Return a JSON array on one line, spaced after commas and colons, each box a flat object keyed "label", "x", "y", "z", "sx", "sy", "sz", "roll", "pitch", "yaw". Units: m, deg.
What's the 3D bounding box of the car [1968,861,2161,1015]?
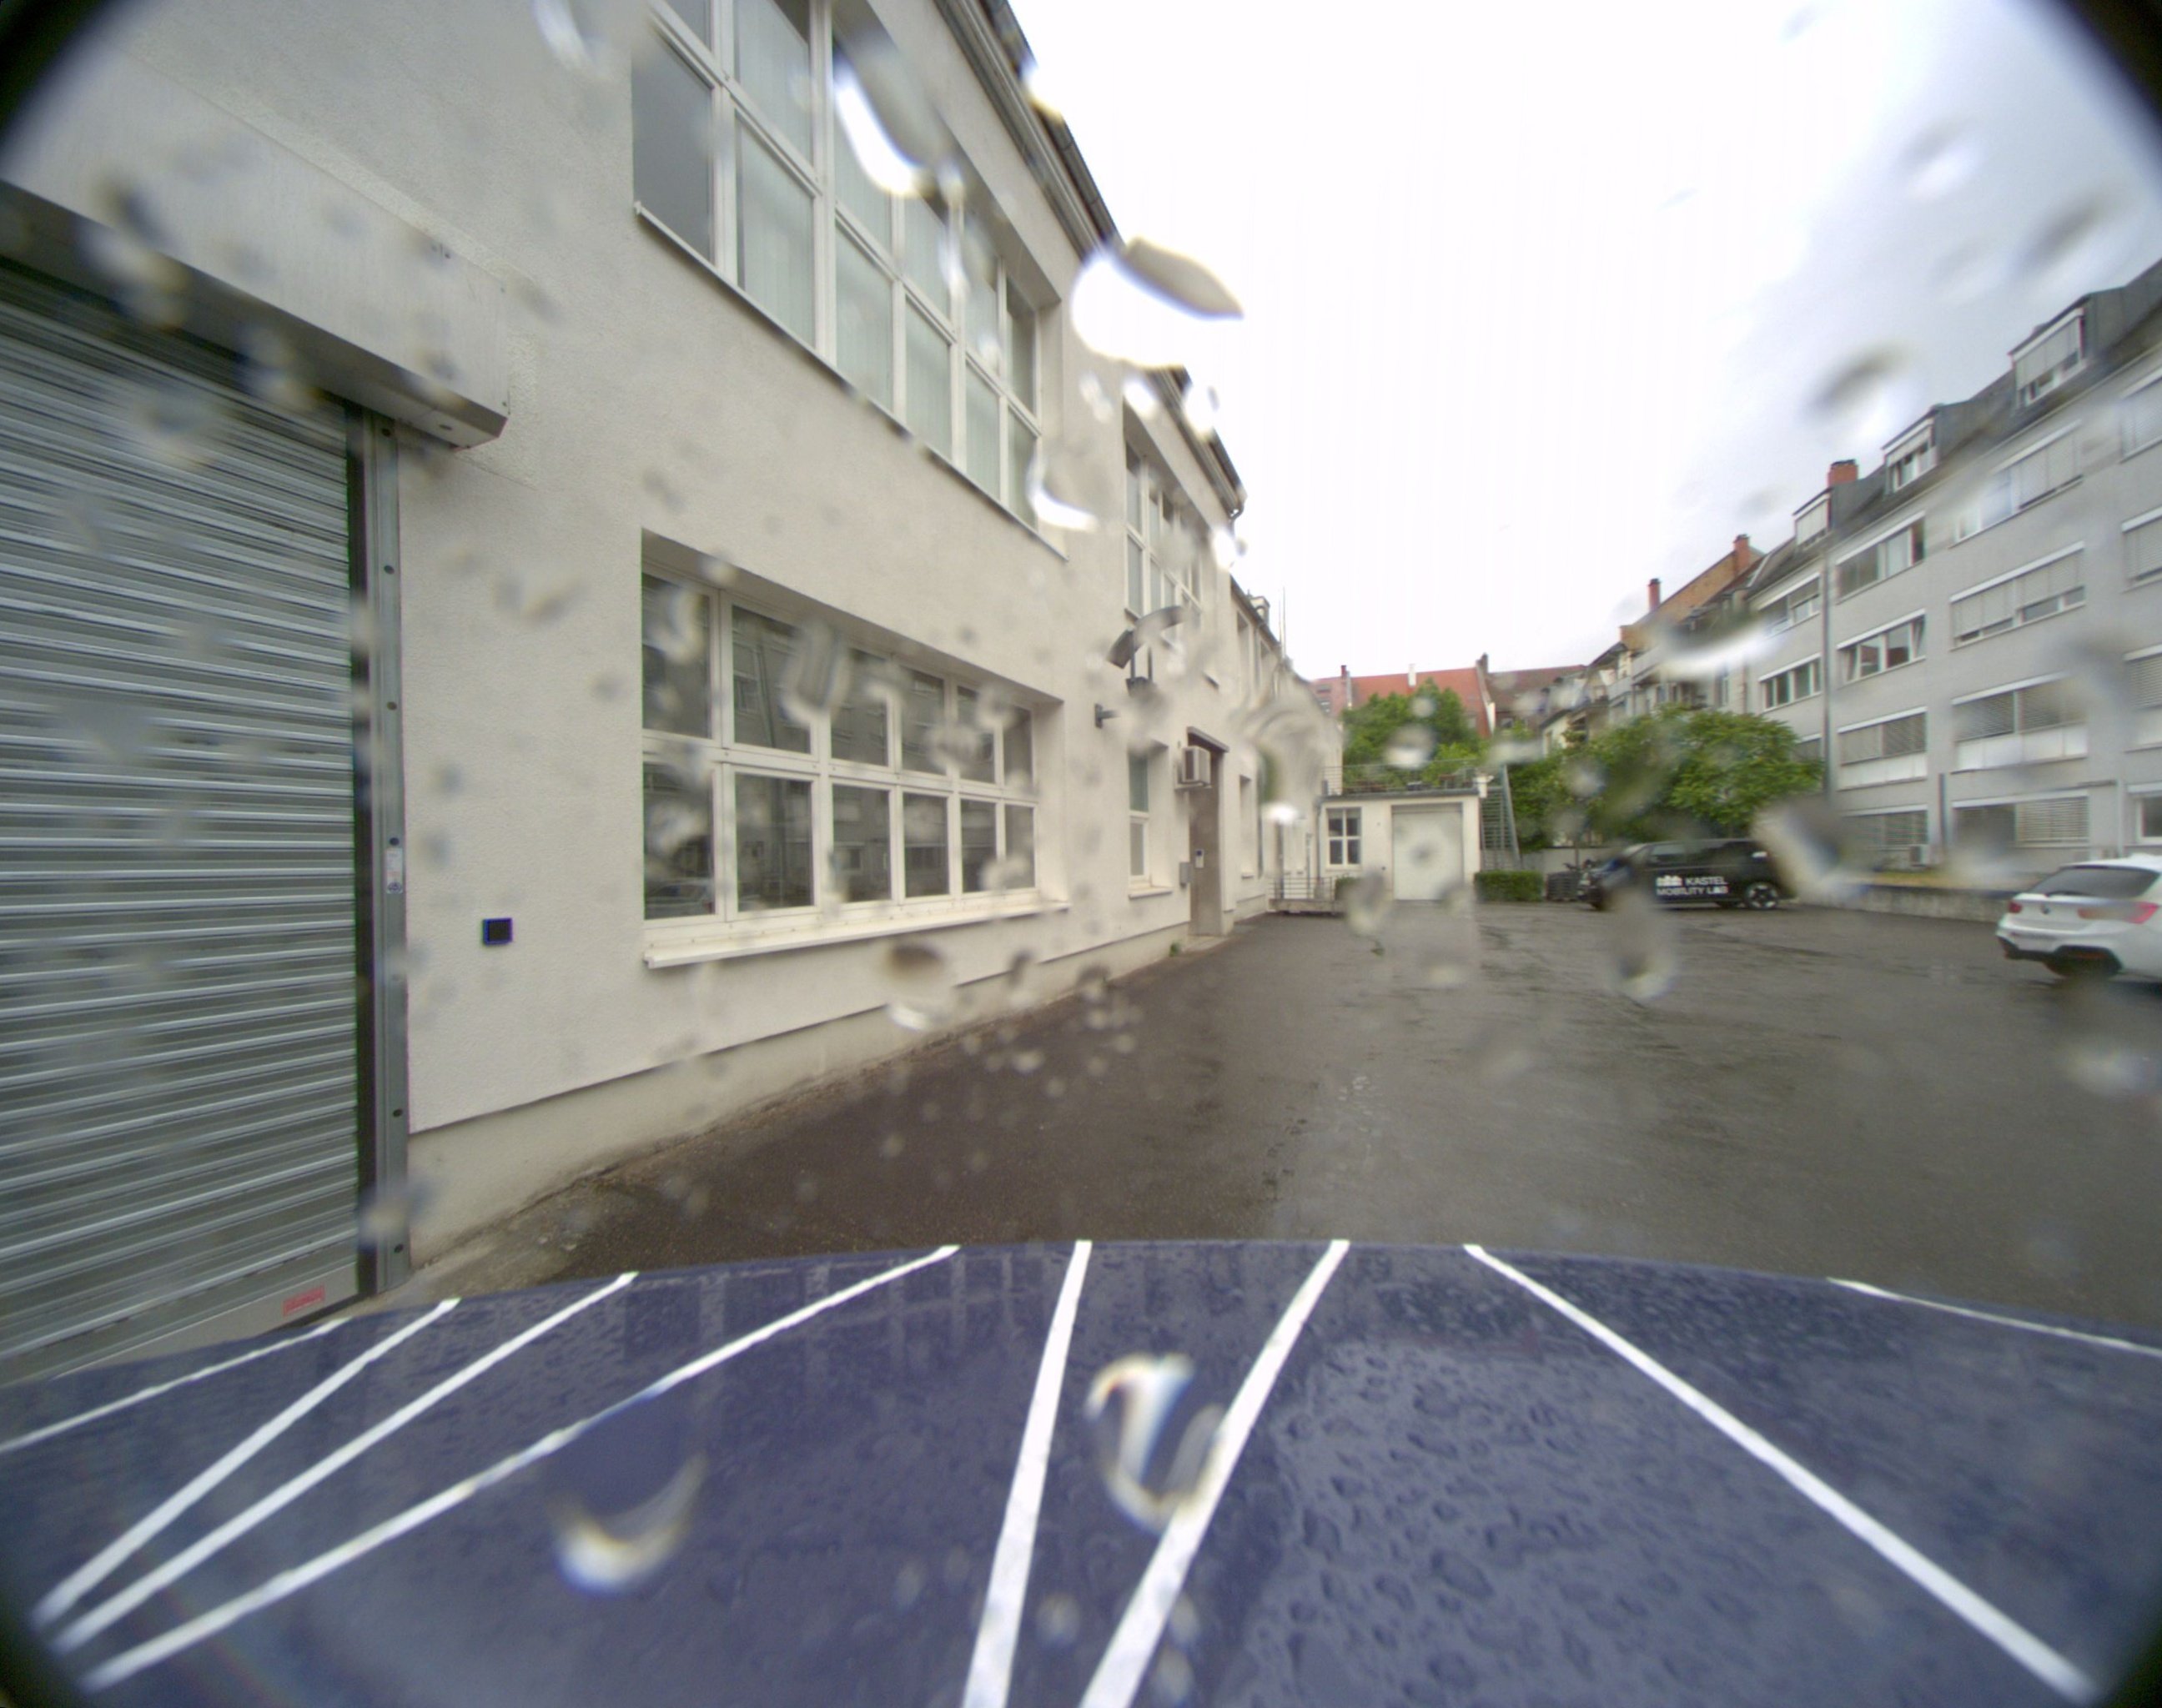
[{"label": "car", "x": 12.212, "y": 0.788, "z": 7.522, "sx": 4.143, "sy": 1.425, "sz": 1.756, "roll": -1, "pitch": 0, "yaw": 20}]

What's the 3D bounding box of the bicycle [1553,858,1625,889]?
[{"label": "bicycle", "x": 20.353, "y": 0.771, "z": 30.479, "sx": 2.315, "sy": 1.180, "sz": 0.644, "roll": -1, "pitch": 2, "yaw": 25}]

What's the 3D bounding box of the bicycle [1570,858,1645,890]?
[{"label": "bicycle", "x": 20.612, "y": 0.782, "z": 29.806, "sx": 2.315, "sy": 1.180, "sz": 0.644, "roll": -1, "pitch": 2, "yaw": 25}]

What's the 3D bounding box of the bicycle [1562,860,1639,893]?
[{"label": "bicycle", "x": 19.577, "y": 0.852, "z": 28.670, "sx": 2.315, "sy": 1.180, "sz": 0.644, "roll": -1, "pitch": 2, "yaw": 25}]

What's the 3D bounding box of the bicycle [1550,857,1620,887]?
[{"label": "bicycle", "x": 20.571, "y": 0.746, "z": 31.076, "sx": 2.315, "sy": 1.180, "sz": 0.644, "roll": -1, "pitch": 2, "yaw": 25}]

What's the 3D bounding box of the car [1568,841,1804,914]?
[{"label": "car", "x": 16.287, "y": 0.662, "z": 20.778, "sx": 4.622, "sy": 1.825, "sz": 1.991, "roll": -1, "pitch": -1, "yaw": 17}]

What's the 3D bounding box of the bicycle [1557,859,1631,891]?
[{"label": "bicycle", "x": 19.835, "y": 0.821, "z": 29.430, "sx": 2.315, "sy": 1.180, "sz": 0.644, "roll": -1, "pitch": 2, "yaw": 25}]
